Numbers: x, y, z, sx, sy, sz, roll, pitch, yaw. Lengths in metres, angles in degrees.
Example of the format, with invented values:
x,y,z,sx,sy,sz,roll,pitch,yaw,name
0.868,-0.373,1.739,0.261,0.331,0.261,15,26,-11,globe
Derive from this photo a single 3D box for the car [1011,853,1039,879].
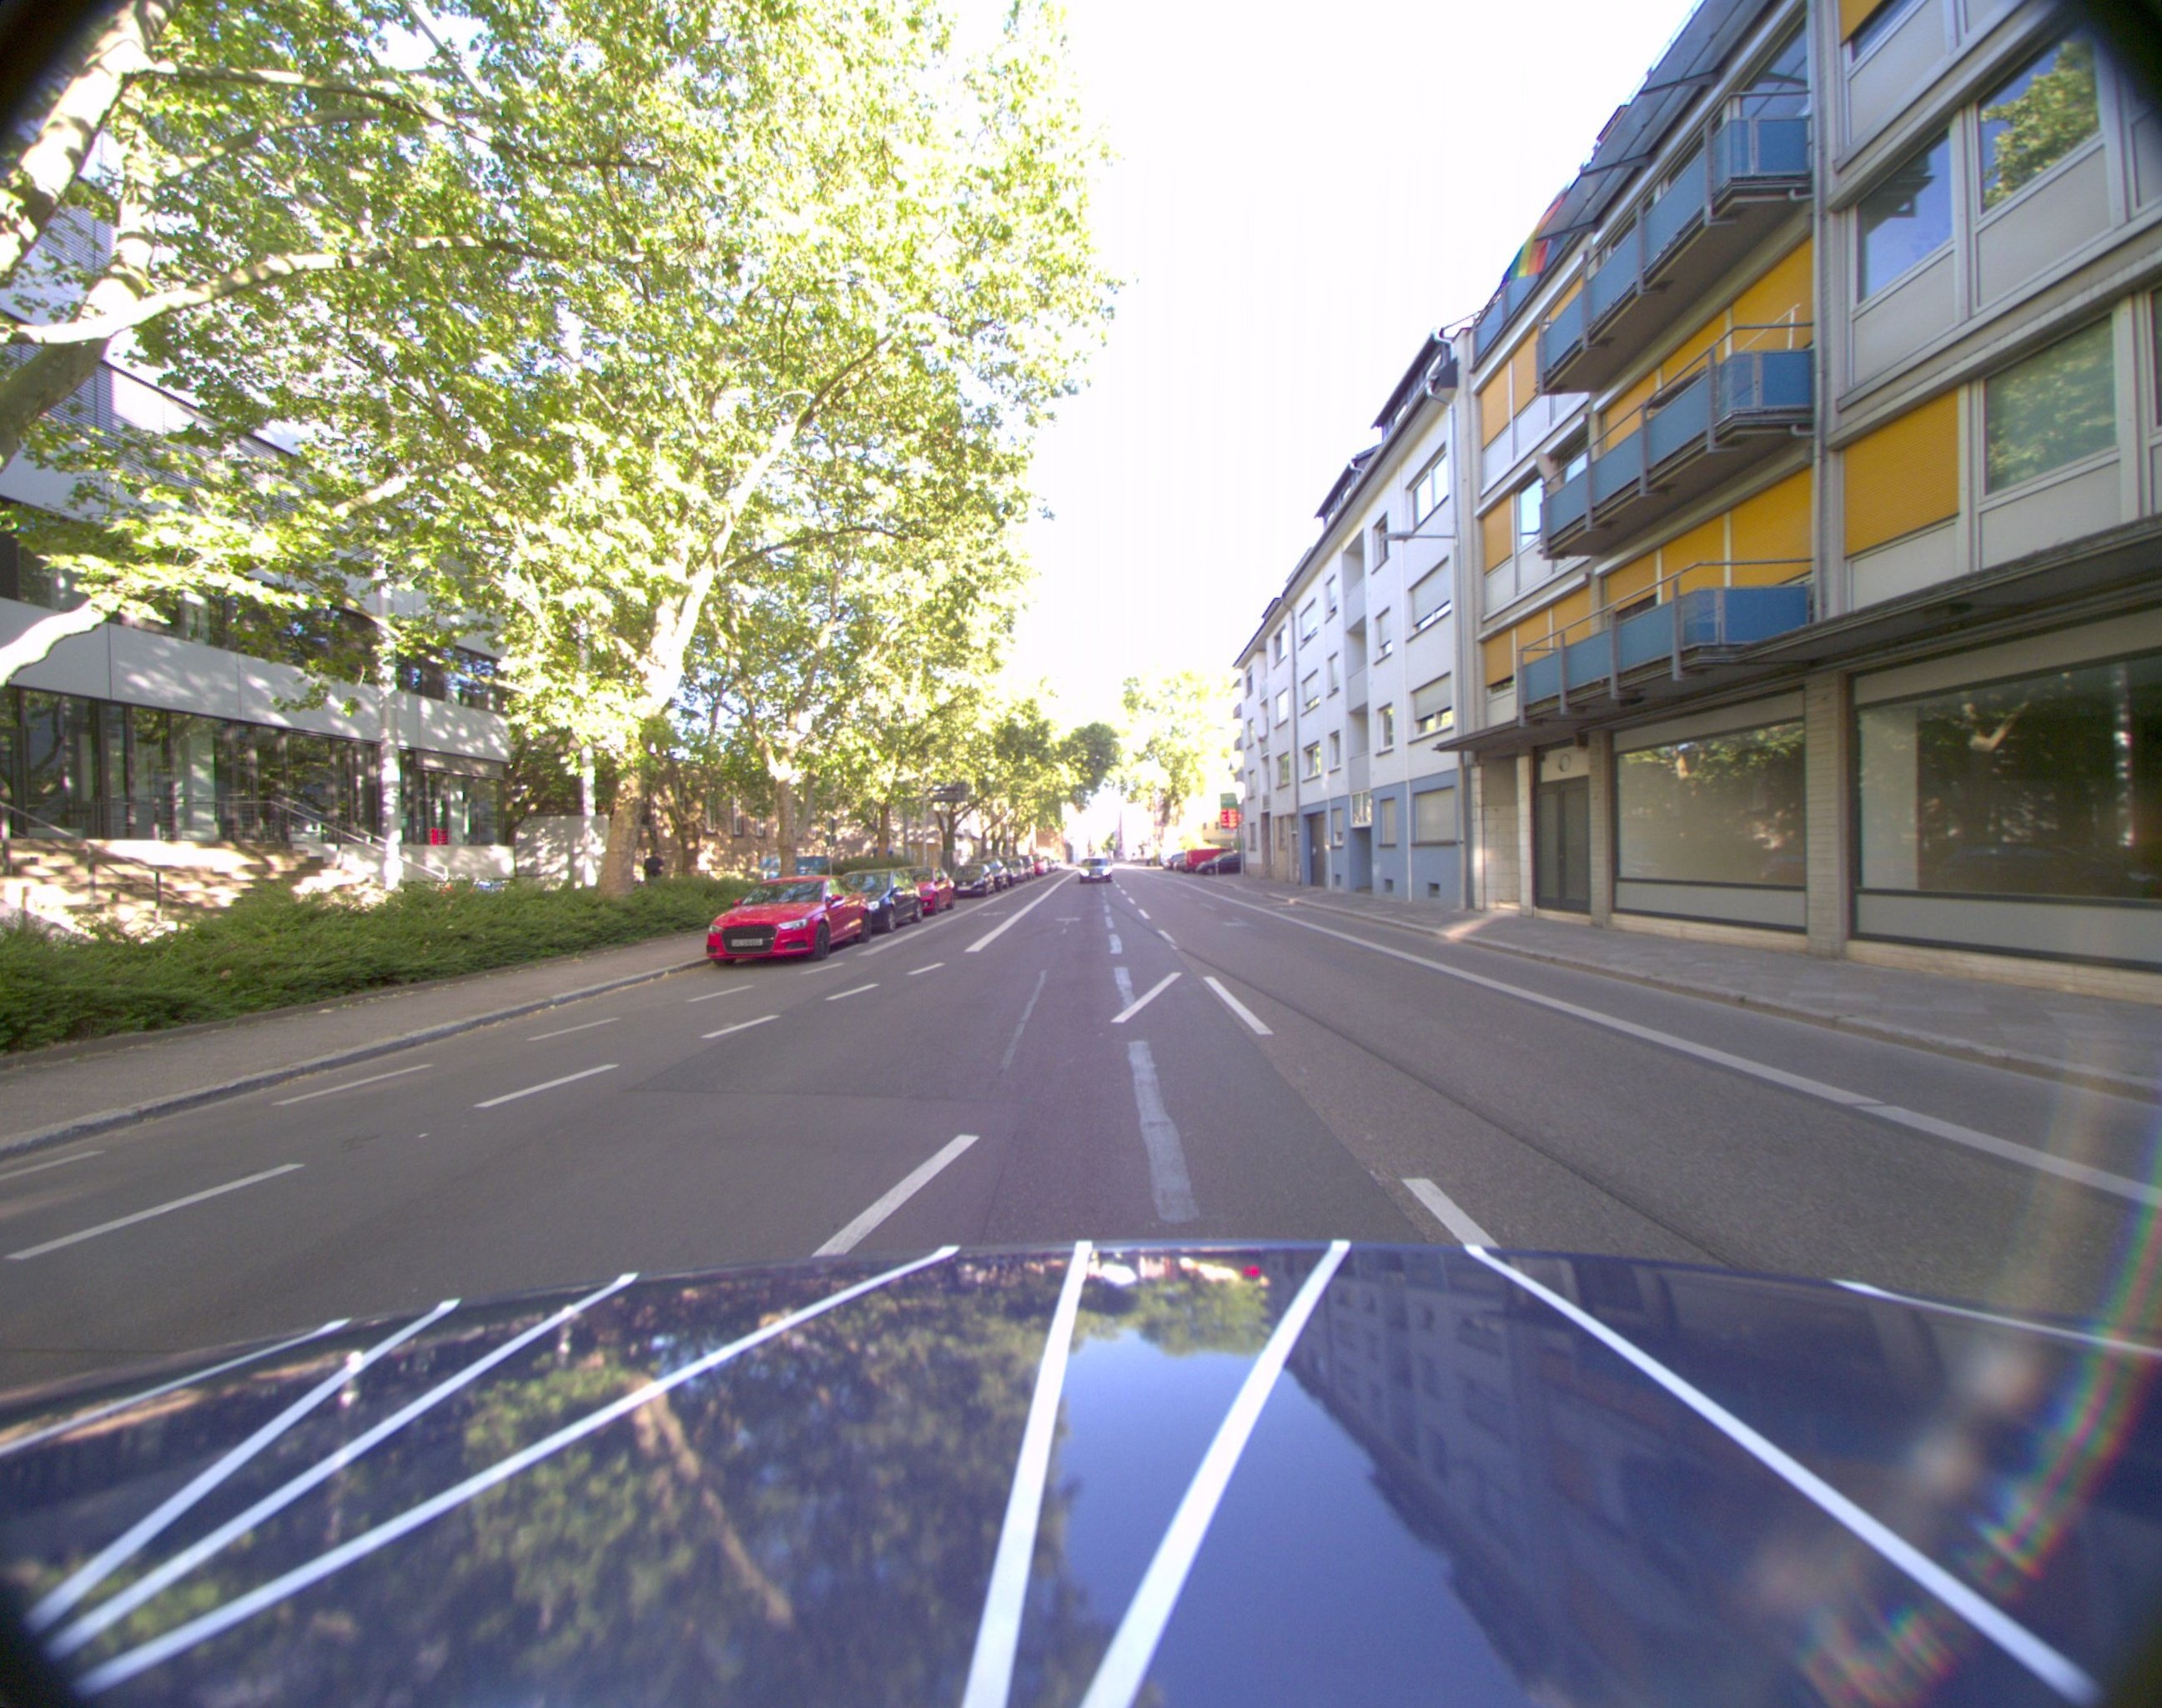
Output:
x,y,z,sx,sy,sz,roll,pitch,yaw,name
-4.041,0.812,55.244,1.634,1.725,3.769,-2,1,0,car

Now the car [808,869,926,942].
x,y,z,sx,sy,sz,roll,pitch,yaw,name
-5.052,1.160,18.415,1.669,1.410,3.697,-2,1,1,car

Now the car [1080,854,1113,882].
x,y,z,sx,sy,sz,roll,pitch,yaw,name
0.874,0.775,43.517,1.752,1.423,4.265,-2,0,0,car

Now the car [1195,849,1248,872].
x,y,z,sx,sy,sz,roll,pitch,yaw,name
10.531,0.480,57.103,3.687,1.503,1.490,-2,1,2,car

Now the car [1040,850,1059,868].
x,y,z,sx,sy,sz,roll,pitch,yaw,name
-3.809,0.581,92.520,1.998,2.002,4.000,-2,0,1,car

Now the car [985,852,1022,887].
x,y,z,sx,sy,sz,roll,pitch,yaw,name
-4.458,0.851,44.245,1.634,1.781,4.576,-2,1,0,car

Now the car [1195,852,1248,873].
x,y,z,sx,sy,sz,roll,pitch,yaw,name
10.088,0.585,54.734,3.508,1.380,1.490,-2,1,2,car

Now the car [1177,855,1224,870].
x,y,z,sx,sy,sz,roll,pitch,yaw,name
9.808,0.689,62.593,3.687,1.122,1.345,-2,1,2,car

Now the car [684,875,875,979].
x,y,z,sx,sy,sz,roll,pitch,yaw,name
-5.163,1.177,13.662,1.794,1.384,3.999,-2,1,0,car

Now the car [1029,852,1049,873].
x,y,z,sx,sy,sz,roll,pitch,yaw,name
-3.907,0.804,71.007,1.599,1.835,3.769,-2,1,0,car

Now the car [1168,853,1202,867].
x,y,z,sx,sy,sz,roll,pitch,yaw,name
10.319,0.577,75.472,3.271,1.238,1.345,-2,1,2,car

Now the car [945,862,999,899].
x,y,z,sx,sy,sz,roll,pitch,yaw,name
-4.696,1.109,33.241,1.692,1.414,3.923,-2,1,0,car

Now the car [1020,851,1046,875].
x,y,z,sx,sy,sz,roll,pitch,yaw,name
-4.174,0.720,66.096,1.915,1.940,3.769,-2,1,0,car

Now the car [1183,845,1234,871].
x,y,z,sx,sy,sz,roll,pitch,yaw,name
10.057,0.316,59.947,3.688,1.897,1.490,-2,-1,-1,car

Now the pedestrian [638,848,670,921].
x,y,z,sx,sy,sz,roll,pitch,yaw,name
-11.976,0.836,21.310,0.552,2.002,0.562,-2,1,-11,pedestrian

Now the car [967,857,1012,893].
x,y,z,sx,sy,sz,roll,pitch,yaw,name
-4.521,0.990,38.112,1.634,1.569,4.231,-2,1,0,car

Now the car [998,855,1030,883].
x,y,z,sx,sy,sz,roll,pitch,yaw,name
-4.357,0.937,50.116,1.634,1.604,4.576,-2,1,0,car

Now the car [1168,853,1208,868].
x,y,z,sx,sy,sz,roll,pitch,yaw,name
10.263,0.622,73.034,3.687,1.238,1.345,-2,1,2,car

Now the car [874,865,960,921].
x,y,z,sx,sy,sz,roll,pitch,yaw,name
-5.015,1.130,23.689,1.692,1.441,3.923,-2,1,1,car
